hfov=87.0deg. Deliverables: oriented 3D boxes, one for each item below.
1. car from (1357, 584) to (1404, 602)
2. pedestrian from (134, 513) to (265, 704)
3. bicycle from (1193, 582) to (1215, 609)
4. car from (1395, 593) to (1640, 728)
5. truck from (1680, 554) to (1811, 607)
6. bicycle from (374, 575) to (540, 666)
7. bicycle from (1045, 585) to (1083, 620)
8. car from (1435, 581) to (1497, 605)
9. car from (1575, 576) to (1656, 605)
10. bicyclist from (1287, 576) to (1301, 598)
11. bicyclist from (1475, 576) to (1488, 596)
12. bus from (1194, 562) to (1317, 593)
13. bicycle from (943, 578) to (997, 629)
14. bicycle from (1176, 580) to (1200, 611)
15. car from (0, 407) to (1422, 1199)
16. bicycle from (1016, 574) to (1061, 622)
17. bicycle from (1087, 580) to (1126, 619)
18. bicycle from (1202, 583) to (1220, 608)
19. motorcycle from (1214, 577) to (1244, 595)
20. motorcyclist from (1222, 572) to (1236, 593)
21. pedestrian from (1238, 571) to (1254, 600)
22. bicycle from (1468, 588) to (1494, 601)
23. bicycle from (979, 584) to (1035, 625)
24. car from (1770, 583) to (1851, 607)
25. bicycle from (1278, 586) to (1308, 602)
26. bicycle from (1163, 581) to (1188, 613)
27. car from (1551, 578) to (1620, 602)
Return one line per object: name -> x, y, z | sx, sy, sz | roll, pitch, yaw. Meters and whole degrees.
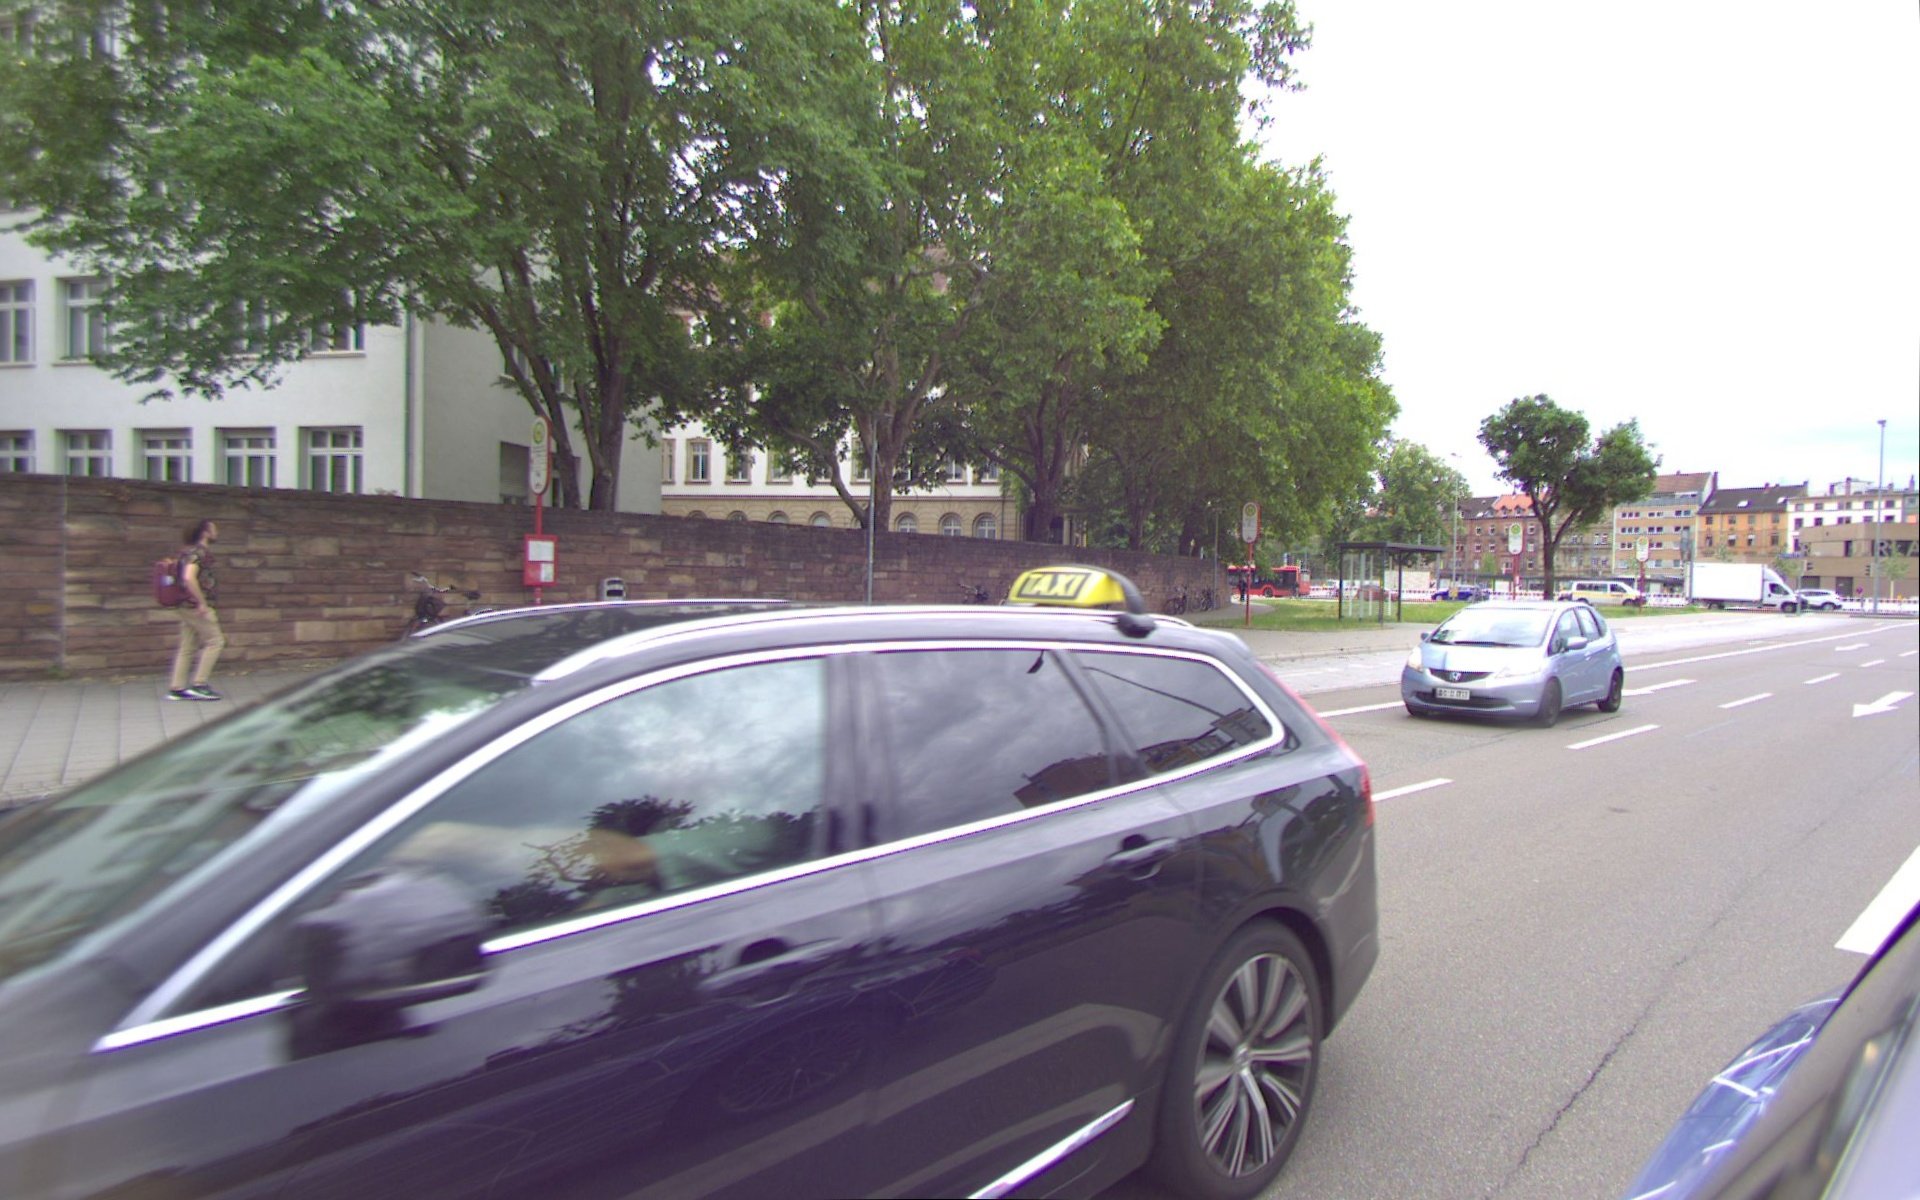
car -> 36.360, -0.609, 87.516 | 3.422, 1.399, 1.266 | 2, -6, 44
pedestrian -> -7.726, 0.067, 10.287 | 1.014, 1.844, 0.632 | 1, 2, -41
bicycle -> 10.328, -0.211, 42.774 | 0.589, 1.072, 1.700 | 3, 2, 23
car -> 7.324, 0.664, 13.170 | 3.596, 1.484, 1.669 | -1, 1, -41
truck -> 53.604, -1.376, 69.189 | 6.835, 3.453, 2.520 | 1, 3, 45
bicycle -> -6.989, 0.244, 14.151 | 0.845, 1.141, 1.900 | 4, 3, 34
bicycle -> 2.955, 0.056, 28.673 | 0.414, 0.954, 1.508 | 3, 2, 31
car -> 43.511, -0.635, 87.098 | 1.736, 1.767, 4.421 | 0, 3, -45
car -> 48.329, -0.746, 74.705 | 1.889, 1.942, 4.704 | -4, 4, -44
bicyclist -> 29.982, -1.167, 90.897 | 0.893, 1.883, 0.753 | 4, 2, 43
bicyclist -> 40.835, -1.088, 79.204 | 0.737, 1.526, 0.757 | 4, 2, 39
bus -> 29.640, -2.299, 102.119 | 2.889, 2.944, 12.067 | 0, 1, -44
bicycle -> 0.250, 0.063, 24.109 | 0.712, 1.113, 1.781 | 3, 2, 20
bicycle -> 8.958, -0.181, 39.664 | 0.589, 1.143, 1.700 | 3, 2, 23
car -> -0.845, 0.611, 2.285 | 4.371, 1.620, 1.886 | 0, 1, -42
bicycle -> 2.130, -0.066, 27.300 | 0.497, 1.236, 1.609 | 3, 2, 31
bicycle -> 4.444, -0.033, 30.609 | 0.593, 1.118, 1.638 | 3, 2, 29
bicycle -> 11.015, -0.204, 44.344 | 0.544, 1.004, 1.626 | 3, 2, 20
motorcycle -> 25.230, -1.316, 94.899 | 2.501, 1.621, 0.917 | 4, 3, 37
motorcyclist -> 25.233, -1.646, 94.877 | 0.913, 1.851, 0.917 | 4, 2, 37
pedestrian -> 17.408, -0.890, 61.659 | 0.745, 1.756, 0.821 | 3, 2, 10
bicycle -> 40.774, -0.470, 79.242 | 1.687, 0.926, 0.757 | 4, 3, 39
bicycle -> 1.208, 0.092, 25.746 | 0.650, 0.963, 1.750 | 3, 2, 31
car -> 59.849, -0.373, 71.279 | 3.995, 1.493, 1.804 | 4, 2, 27
bicycle -> 29.906, -0.563, 90.959 | 2.384, 1.340, 0.753 | 4, 3, 44
bicycle -> 8.133, -0.139, 38.149 | 0.589, 1.150, 1.700 | 3, 2, 23
car -> 49.315, -0.824, 79.880 | 1.660, 1.657, 4.282 | 1, 3, -40
